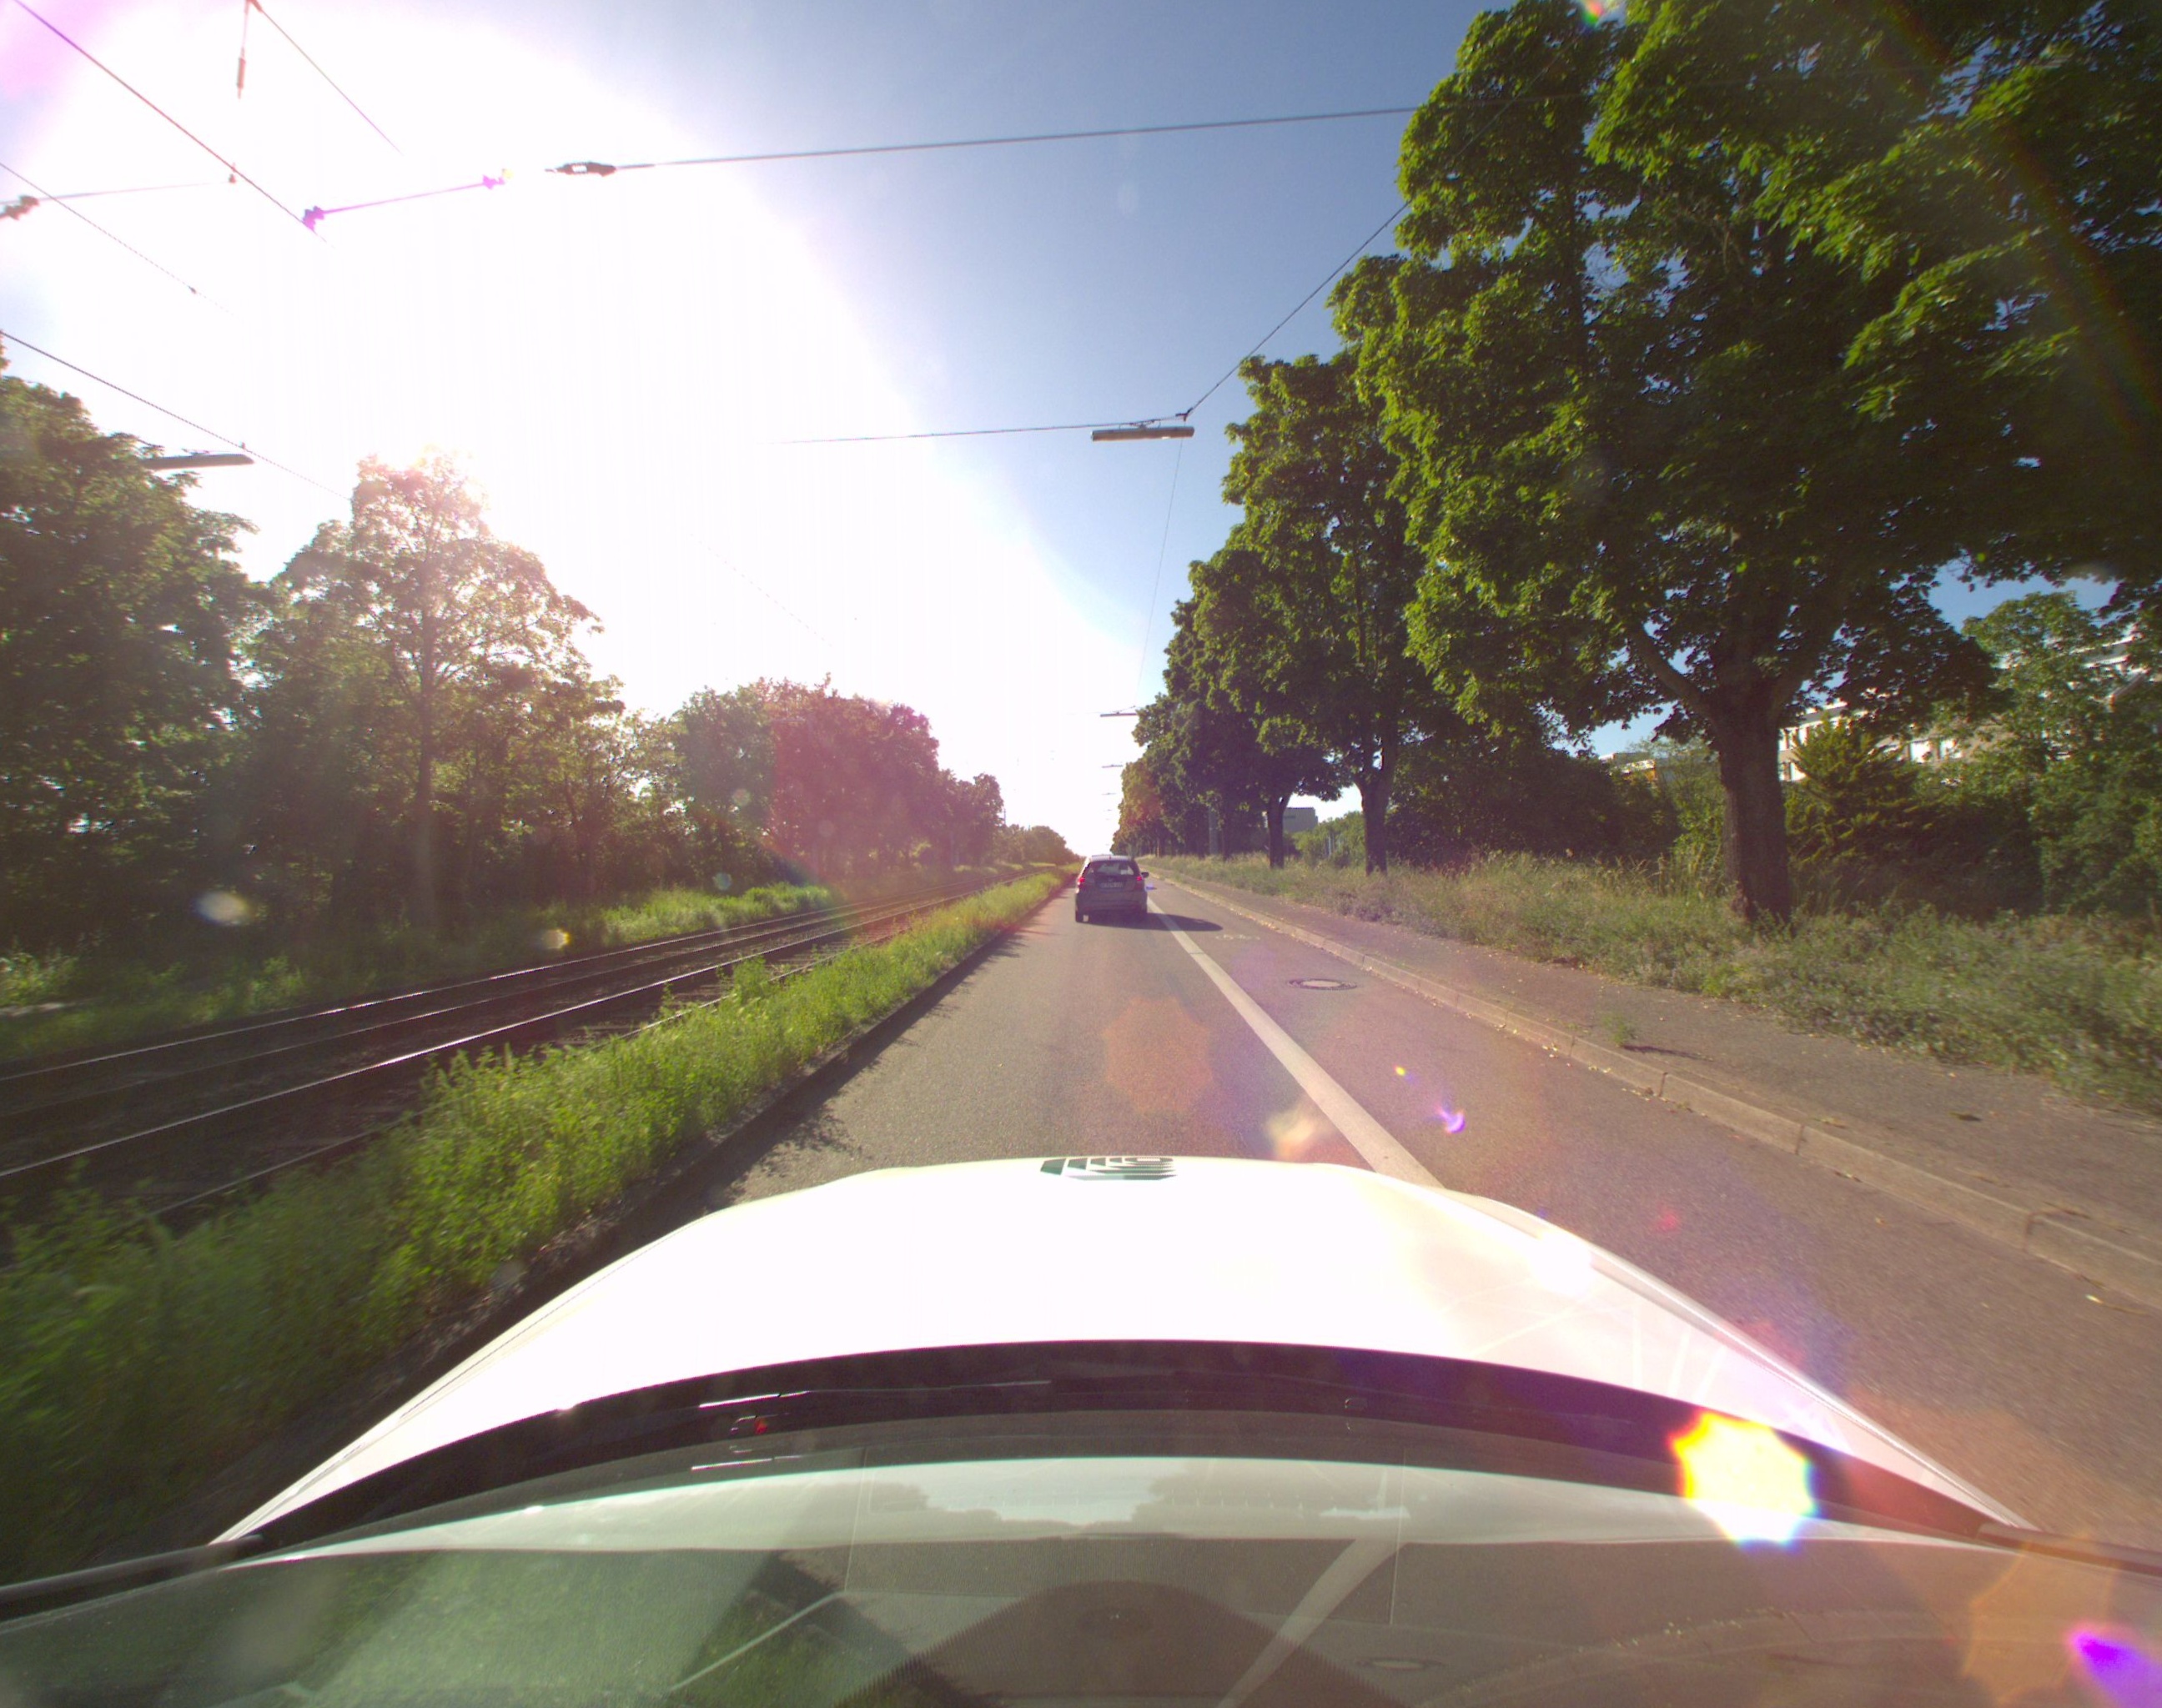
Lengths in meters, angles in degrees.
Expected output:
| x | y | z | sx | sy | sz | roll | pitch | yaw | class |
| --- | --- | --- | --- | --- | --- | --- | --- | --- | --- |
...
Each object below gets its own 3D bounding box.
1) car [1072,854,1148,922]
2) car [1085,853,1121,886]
| x | y | z | sx | sy | sz | roll | pitch | yaw | class |
| --- | --- | --- | --- | --- | --- | --- | --- | --- | --- |
| 0.724 | 0.763 | 19.966 | 1.663 | 1.507 | 3.813 | -1 | 0 | 2 | car |
| 1.112 | 0.737 | 39.586 | 1.648 | 1.507 | 3.813 | -1 | 0 | 2 | car |
